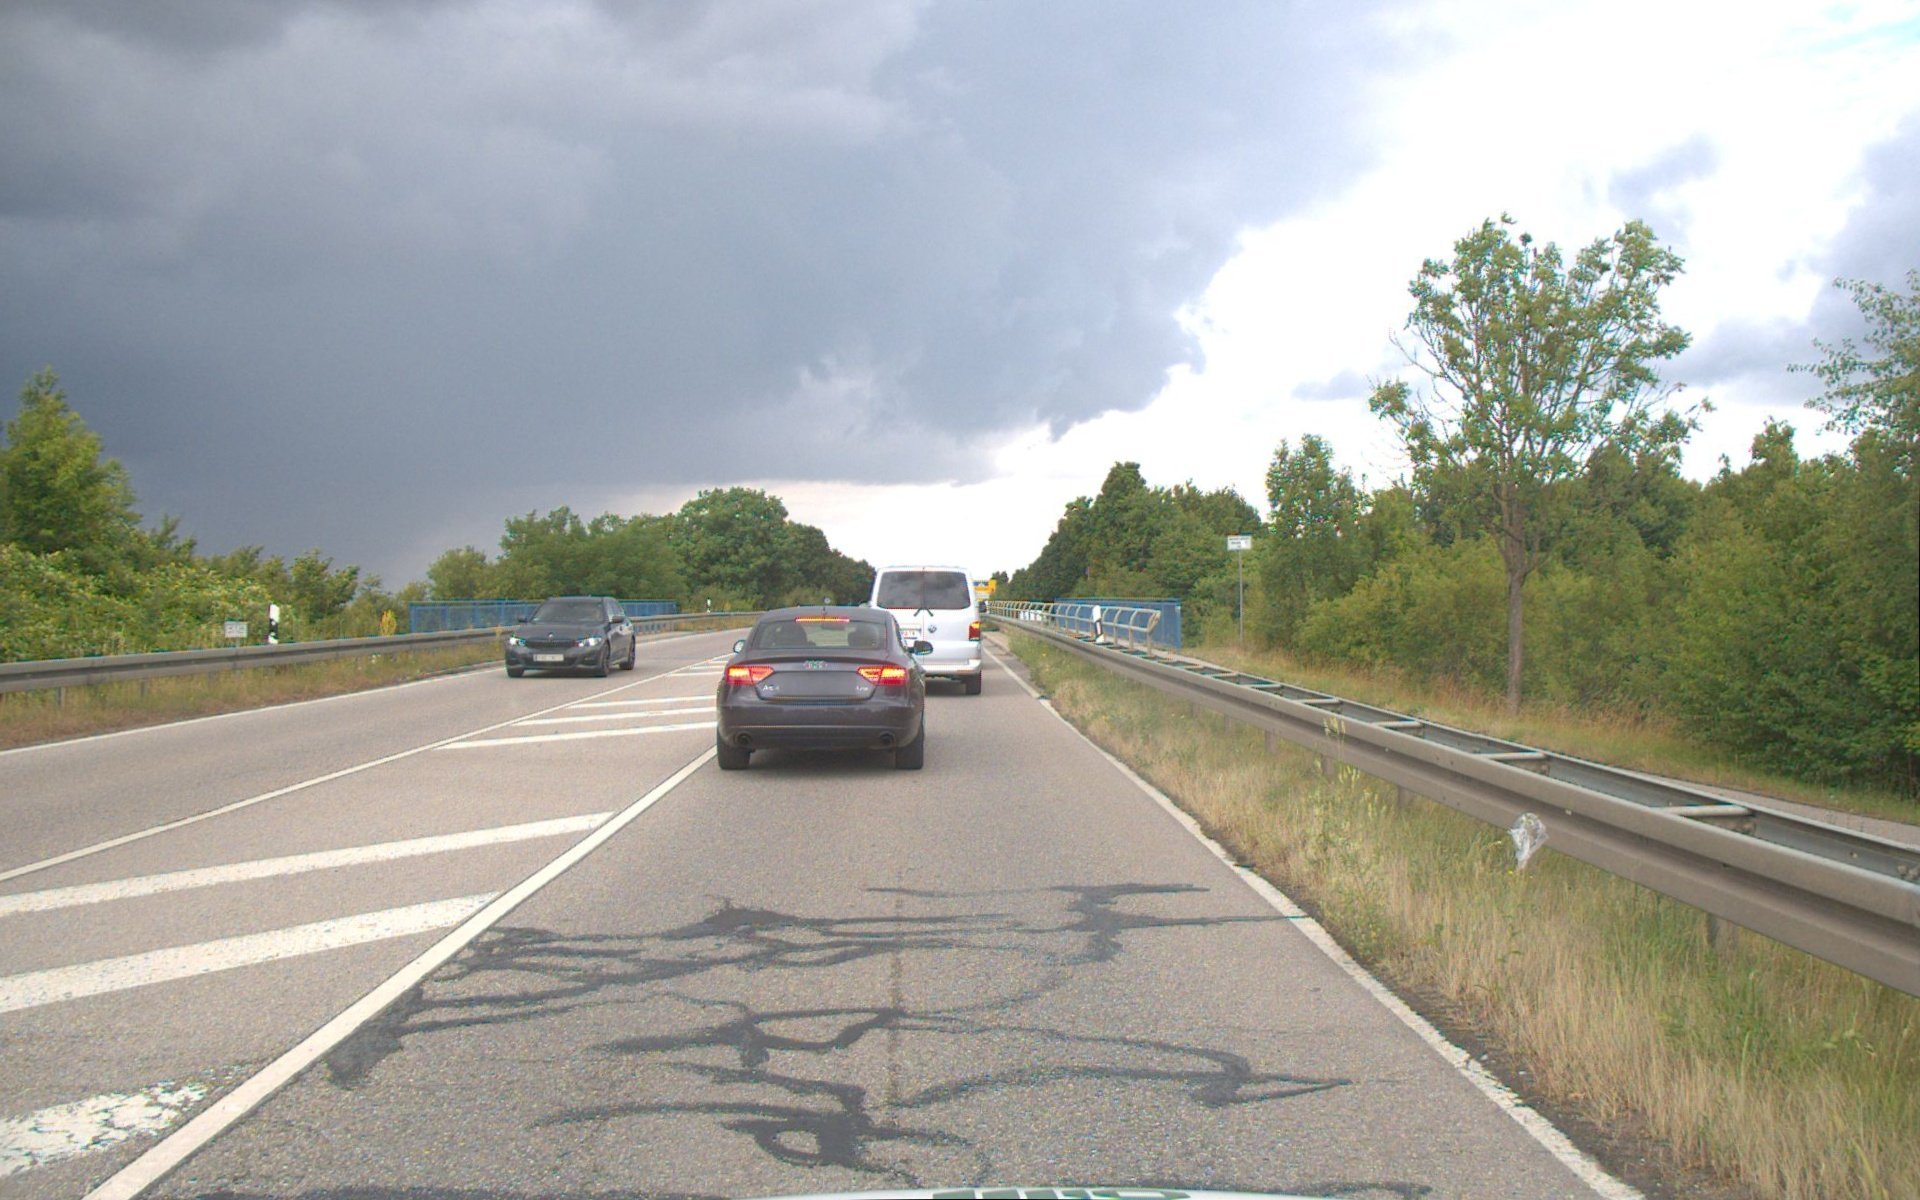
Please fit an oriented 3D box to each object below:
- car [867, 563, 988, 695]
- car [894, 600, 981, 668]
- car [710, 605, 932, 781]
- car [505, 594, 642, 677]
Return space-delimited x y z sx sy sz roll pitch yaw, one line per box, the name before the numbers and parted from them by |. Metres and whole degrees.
car | -0.524 0.438 26.800 1.791 1.969 3.999 -1 0 -1
car | -0.469 0.705 35.966 1.784 1.405 4.071 0 0 0
car | -1.169 0.757 15.428 1.784 1.405 4.070 -1 0 -1
car | -7.339 0.642 31.810 1.763 1.475 4.444 -1 0 -2
